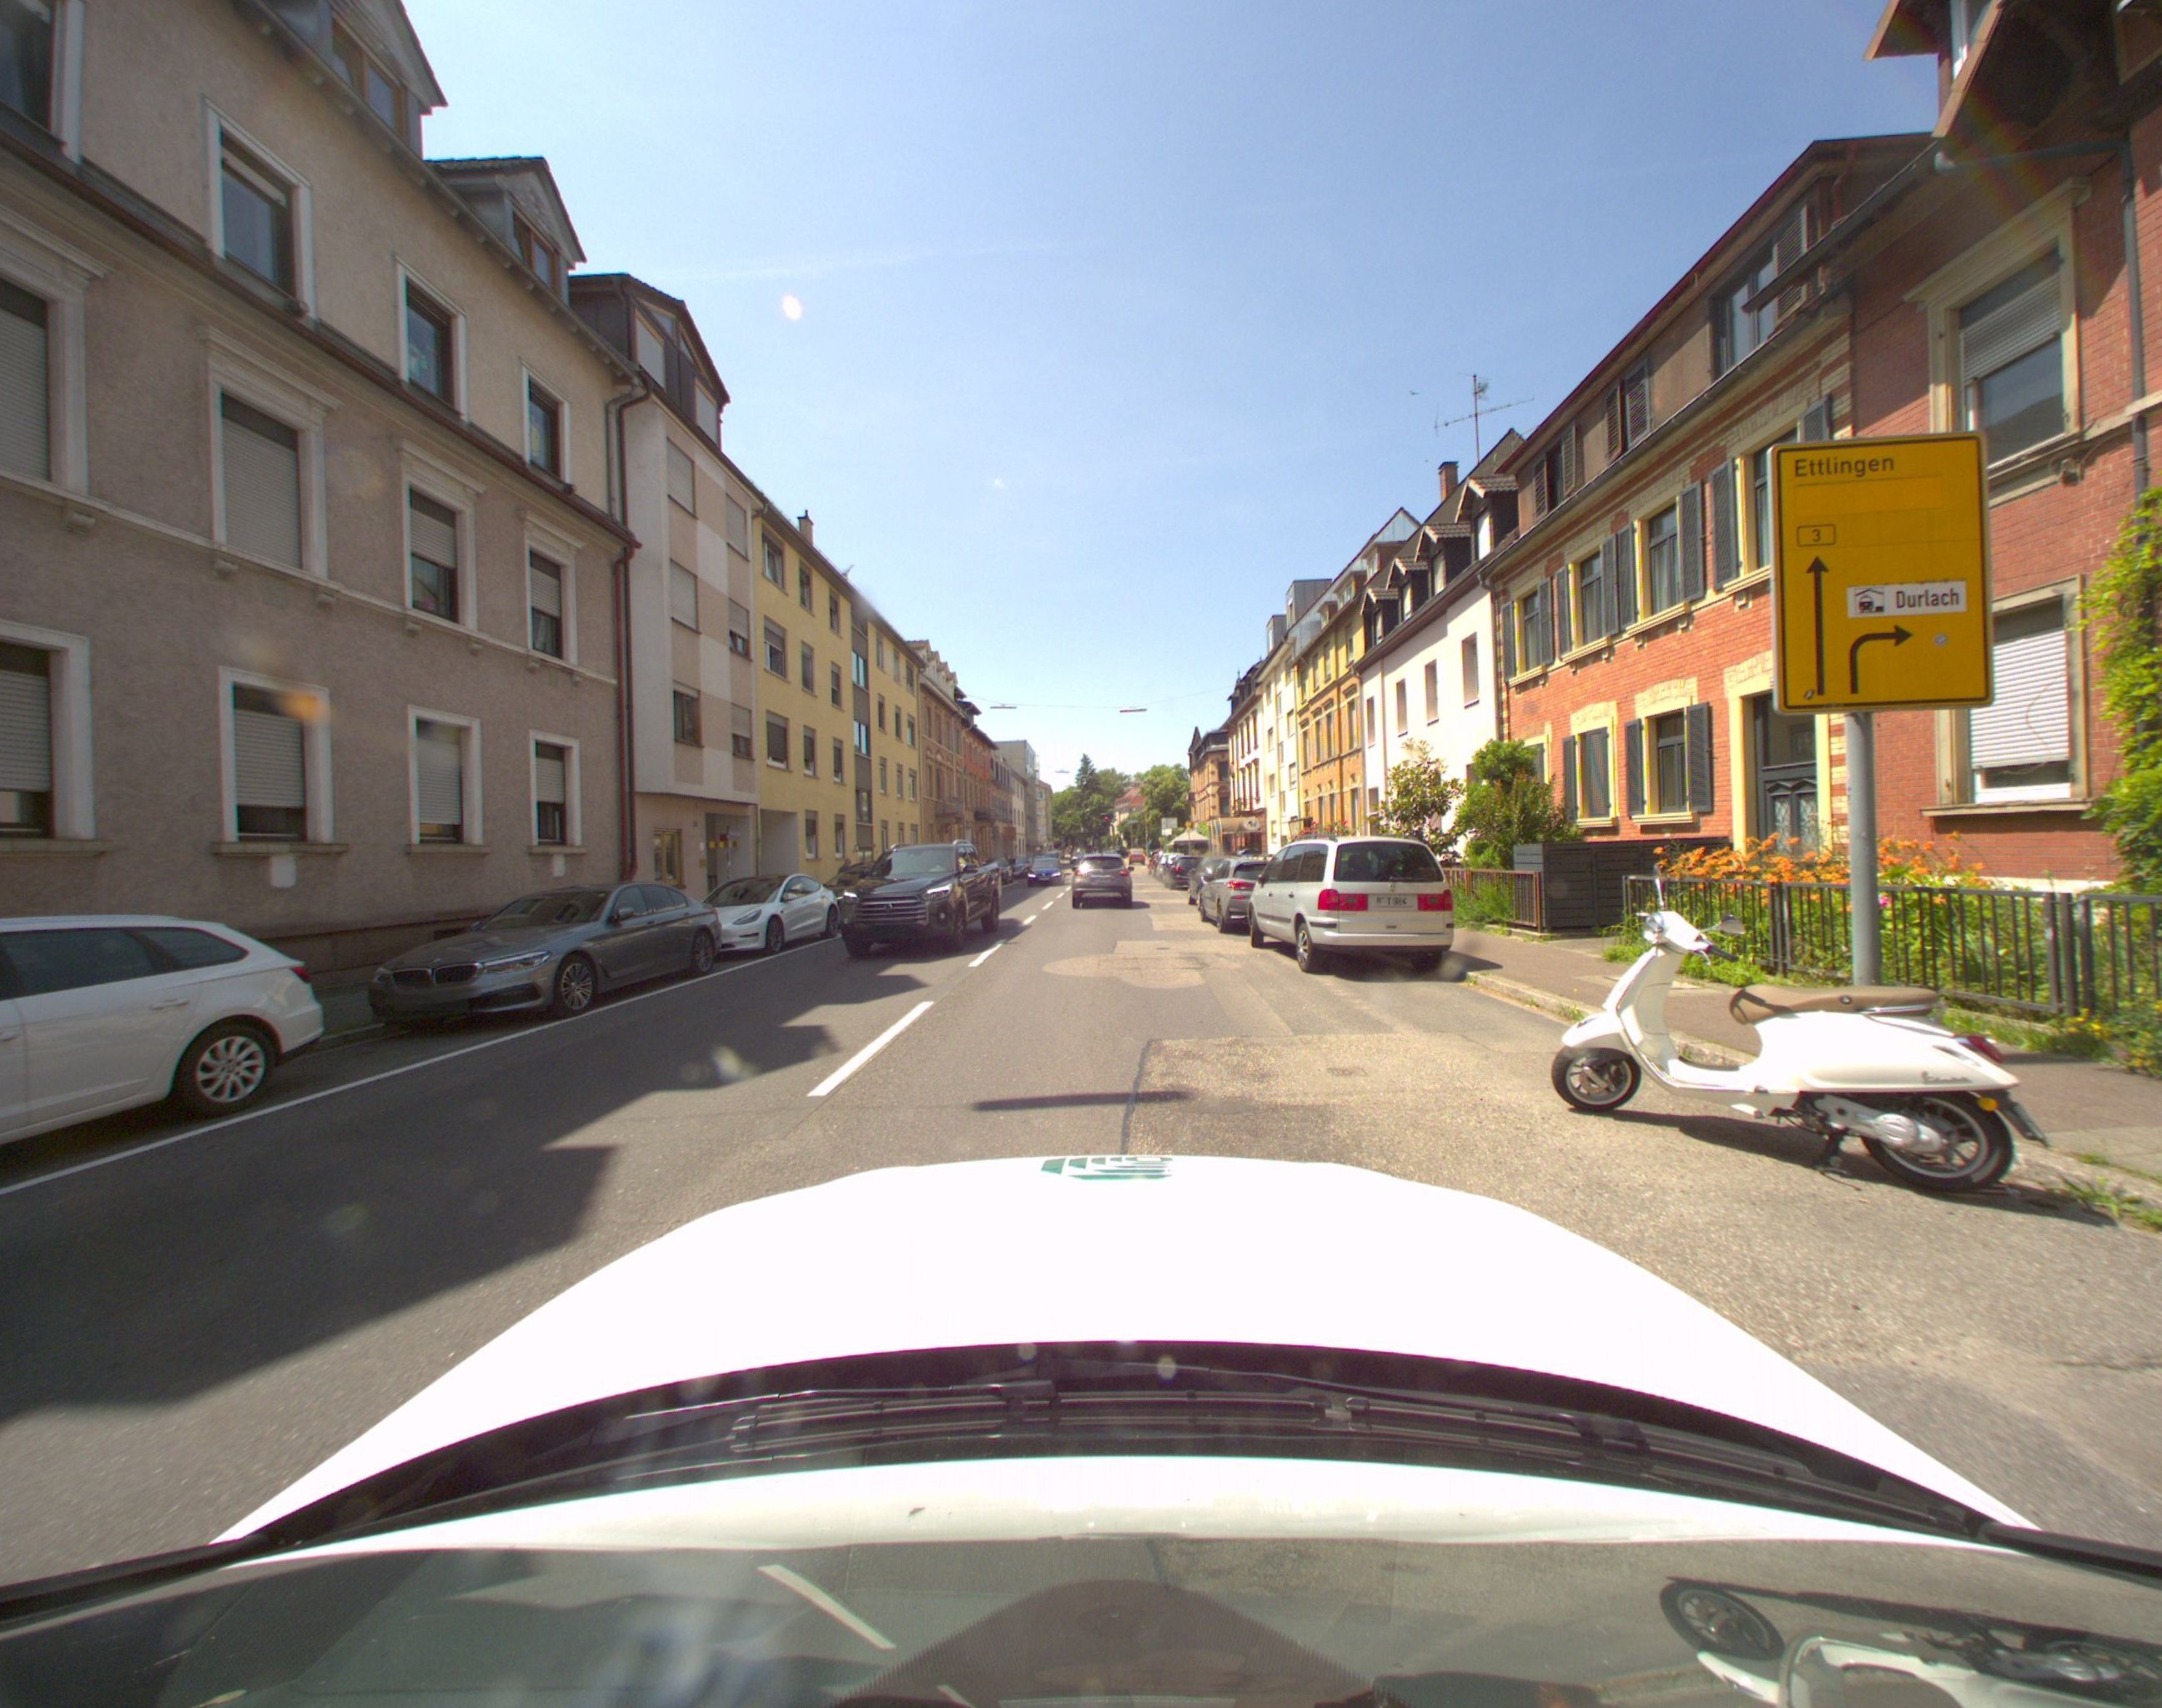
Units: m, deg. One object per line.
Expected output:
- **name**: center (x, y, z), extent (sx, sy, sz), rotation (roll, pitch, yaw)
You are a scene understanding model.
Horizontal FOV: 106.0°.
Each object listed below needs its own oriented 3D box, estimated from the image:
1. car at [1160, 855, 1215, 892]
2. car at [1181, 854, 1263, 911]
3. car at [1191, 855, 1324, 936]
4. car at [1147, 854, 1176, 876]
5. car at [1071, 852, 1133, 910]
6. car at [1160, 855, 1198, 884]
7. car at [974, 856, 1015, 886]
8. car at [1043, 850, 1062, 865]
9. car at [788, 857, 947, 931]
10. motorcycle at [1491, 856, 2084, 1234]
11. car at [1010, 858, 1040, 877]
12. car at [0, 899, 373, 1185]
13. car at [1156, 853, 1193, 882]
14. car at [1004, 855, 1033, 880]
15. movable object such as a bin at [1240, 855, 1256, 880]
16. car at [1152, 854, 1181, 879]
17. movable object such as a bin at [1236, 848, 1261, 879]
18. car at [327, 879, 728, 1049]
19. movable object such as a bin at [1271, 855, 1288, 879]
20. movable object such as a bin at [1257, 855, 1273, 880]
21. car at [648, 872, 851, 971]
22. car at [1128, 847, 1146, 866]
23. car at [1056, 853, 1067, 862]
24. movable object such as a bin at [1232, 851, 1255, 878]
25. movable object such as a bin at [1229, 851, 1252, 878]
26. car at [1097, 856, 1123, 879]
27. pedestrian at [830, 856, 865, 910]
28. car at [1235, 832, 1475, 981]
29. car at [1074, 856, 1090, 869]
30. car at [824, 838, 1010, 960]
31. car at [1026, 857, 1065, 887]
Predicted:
- **car**: center (4.518, 0.802, 35.081), extent (1.854, 1.465, 4.619), rotation (0, 0, 1)
- **car**: center (4.016, 0.748, 23.808), extent (1.689, 1.487, 4.619), rotation (0, 0, 1)
- **car**: center (3.542, 0.761, 17.112), extent (1.854, 1.487, 4.309), rotation (0, 0, 0)
- **car**: center (5.587, 0.754, 56.621), extent (1.607, 1.443, 3.435), rotation (-1, 0, -1)
- **car**: center (0.650, 0.762, 24.841), extent (1.737, 1.616, 4.001), rotation (-1, 0, 1)
- **car**: center (5.024, 0.773, 42.191), extent (1.653, 1.441, 4.003), rotation (0, 0, 3)
- **car**: center (-5.209, 1.000, 49.633), extent (1.898, 1.619, 4.303), rotation (-4, 0, 1)
- **car**: center (-3.503, 0.429, 101.149), extent (1.897, 1.821, 4.305), rotation (-2, 0, 3)
- **car**: center (-5.702, 1.026, 22.430), extent (1.889, 1.637, 4.580), rotation (-4, 0, 19)
- **motorcycle**: center (3.282, 0.730, 4.077), extent (1.970, 1.385, 1.120), rotation (-2, -1, 39)
- **car**: center (-4.516, 1.107, 66.554), extent (1.897, 1.357, 4.305), rotation (-4, 0, 2)
- **car**: center (-6.713, 1.119, 4.378), extent (1.834, 1.422, 4.500), rotation (-4, -1, -1)
- **car**: center (5.260, 0.728, 46.377), extent (1.853, 1.553, 4.003), rotation (0, 0, 3)
- **car**: center (-4.648, 0.995, 60.952), extent (1.900, 1.619, 4.298), rotation (-4, 0, -2)
- **movable object such as a bin**: center (8.149, 0.641, 39.738), extent (0.635, 1.177, 0.912), rotation (-1, 0, 4)
- **car**: center (5.320, 0.769, 50.915), extent (1.605, 1.461, 3.507), rotation (-1, 0, 2)
- **movable object such as a bin**: center (8.456, 0.488, 41.063), extent (1.038, 1.518, 1.448), rotation (-1, 0, 4)
- **car**: center (-6.406, 1.137, 10.268), extent (1.834, 1.422, 4.644), rotation (-4, -1, -1)
- **movable object such as a bin**: center (9.666, 0.619, 39.667), extent (0.665, 1.177, 0.852), rotation (-1, 0, 3)
- **movable object such as a bin**: center (8.955, 0.644, 39.694), extent (0.635, 1.186, 0.853), rotation (-1, 0, 4)
- **car**: center (-6.208, 1.181, 15.929), extent (1.832, 1.422, 4.560), rotation (-5, -1, 2)
- **car**: center (6.526, 0.275, 94.733), extent (1.984, 2.013, 4.471), rotation (-3, 0, 4)
- **car**: center (-3.827, 0.698, 162.292), extent (1.783, 1.626, 3.747), rotation (-2, 0, 4)
- **movable object such as a bin**: center (8.469, 0.547, 42.435), extent (1.038, 1.402, 1.255), rotation (-1, 0, 4)
- **movable object such as a bin**: center (8.555, 0.557, 43.691), extent (1.038, 1.402, 1.255), rotation (-1, 0, 4)
- **car**: center (2.225, 1.019, 64.100), extent (1.806, 1.620, 4.440), rotation (-3, 0, 0)
- **pedestrian**: center (-7.822, 0.954, 27.277), extent (0.970, 1.750, 1.147), rotation (-2, 0, -21)
- **car**: center (3.663, 0.609, 11.869), extent (1.855, 1.748, 4.615), rotation (0, 0, -2)
- **car**: center (0.159, 1.085, 105.443), extent (1.933, 1.626, 4.000), rotation (-1, 0, 0)
- **car**: center (-2.749, 0.695, 15.107), extent (1.985, 1.792, 5.154), rotation (-3, 0, 4)
- **car**: center (-1.800, 0.920, 42.644), extent (1.810, 1.388, 3.999), rotation (-2, 0, 0)
